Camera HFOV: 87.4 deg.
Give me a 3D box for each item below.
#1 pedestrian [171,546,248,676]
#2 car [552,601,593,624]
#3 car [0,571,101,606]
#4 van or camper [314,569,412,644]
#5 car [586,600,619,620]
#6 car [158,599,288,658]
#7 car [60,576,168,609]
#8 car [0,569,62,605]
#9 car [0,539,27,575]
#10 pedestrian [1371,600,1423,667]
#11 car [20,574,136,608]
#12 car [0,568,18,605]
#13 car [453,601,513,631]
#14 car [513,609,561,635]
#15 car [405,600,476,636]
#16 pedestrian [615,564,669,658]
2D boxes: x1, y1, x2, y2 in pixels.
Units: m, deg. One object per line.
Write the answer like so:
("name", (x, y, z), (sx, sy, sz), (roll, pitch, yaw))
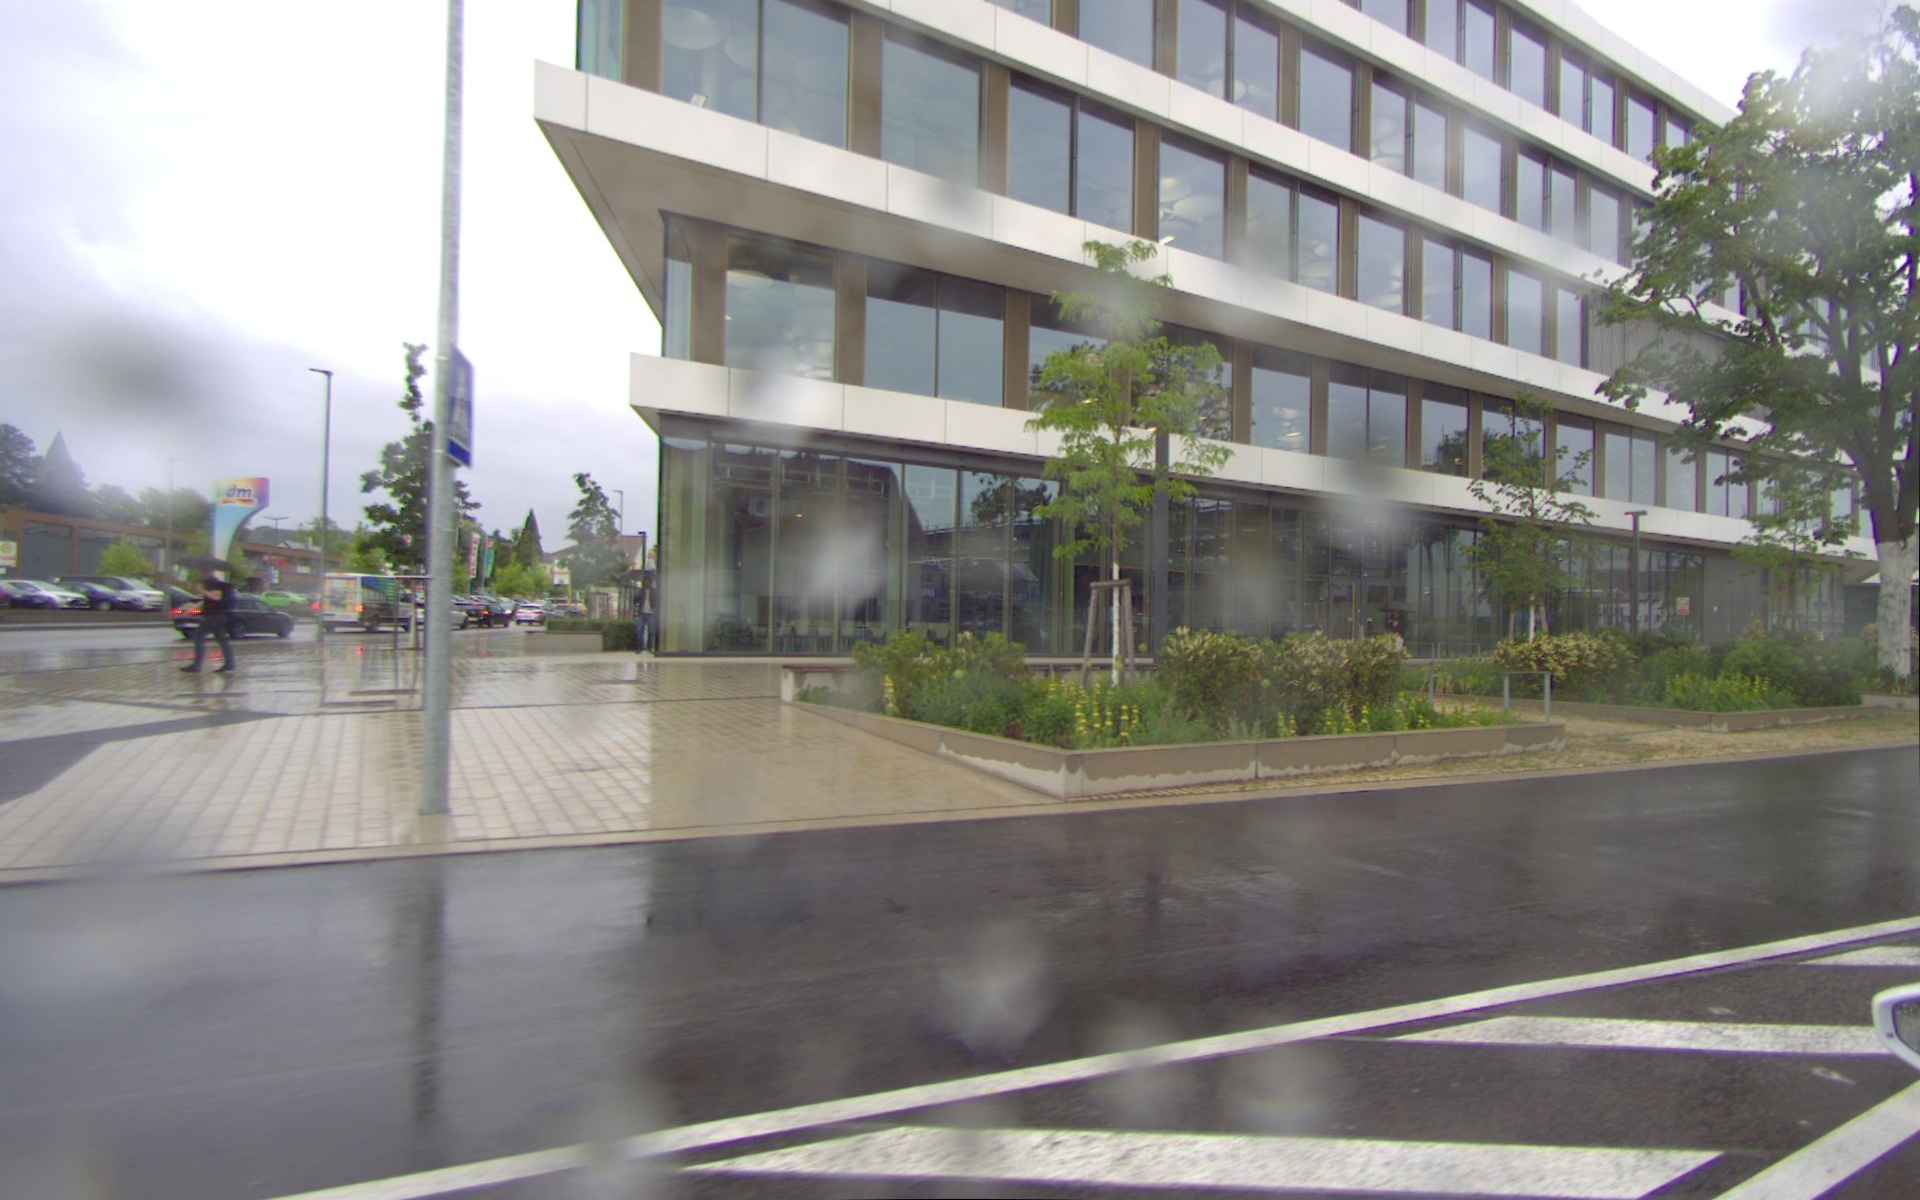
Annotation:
("pedestrian", (-12.232, 0.179, 16.403), (0.922, 2.040, 0.885), (1, 0, -34))
("car", (-29.934, 0.935, 77.770), (1.963, 1.639, 3.995), (2, 0, -7))
("car", (-43.497, -0.534, 47.520), (3.927, 1.572, 1.792), (1, -1, -9))
("van or camper", (-26.743, 0.246, 45.209), (1.963, 3.129, 5.094), (1, 1, -8))
("car", (-32.146, 0.896, 90.402), (1.963, 1.639, 3.995), (2, 0, -7))
("car", (-25.479, 0.950, 34.915), (1.963, 1.751, 3.994), (2, 2, -8))
("car", (-44.197, -0.367, 52.550), (3.927, 1.572, 1.792), (1, -1, -9))
("car", (-42.968, -0.600, 44.833), (3.927, 1.572, 1.792), (1, -1, -9))
("car", (-58.063, -2.602, 59.639), (1.965, 2.040, 3.991), (4, 2, -11))
("pedestrian", (11.832, 0.907, 27.201), (0.944, 1.726, 0.721), (3, 2, -27))
("car", (-43.870, -0.421, 50.030), (3.927, 1.572, 1.792), (1, -1, -9))
("car", (-42.736, -0.608, 42.416), (3.927, 1.572, 1.792), (1, -1, -9))
("car", (-28.201, 0.946, 59.494), (1.963, 1.639, 3.995), (2, 0, -7))
("car", (-29.020, 1.462, 68.992), (1.963, 1.639, 3.995), (2, 0, -7))
("car", (-27.420, 0.924, 53.159), (1.963, 1.728, 3.995), (2, 0, -7))
("pedestrian", (-7.620, 0.260, 24.092), (0.986, 2.174, 0.931), (1, 0, -4))
